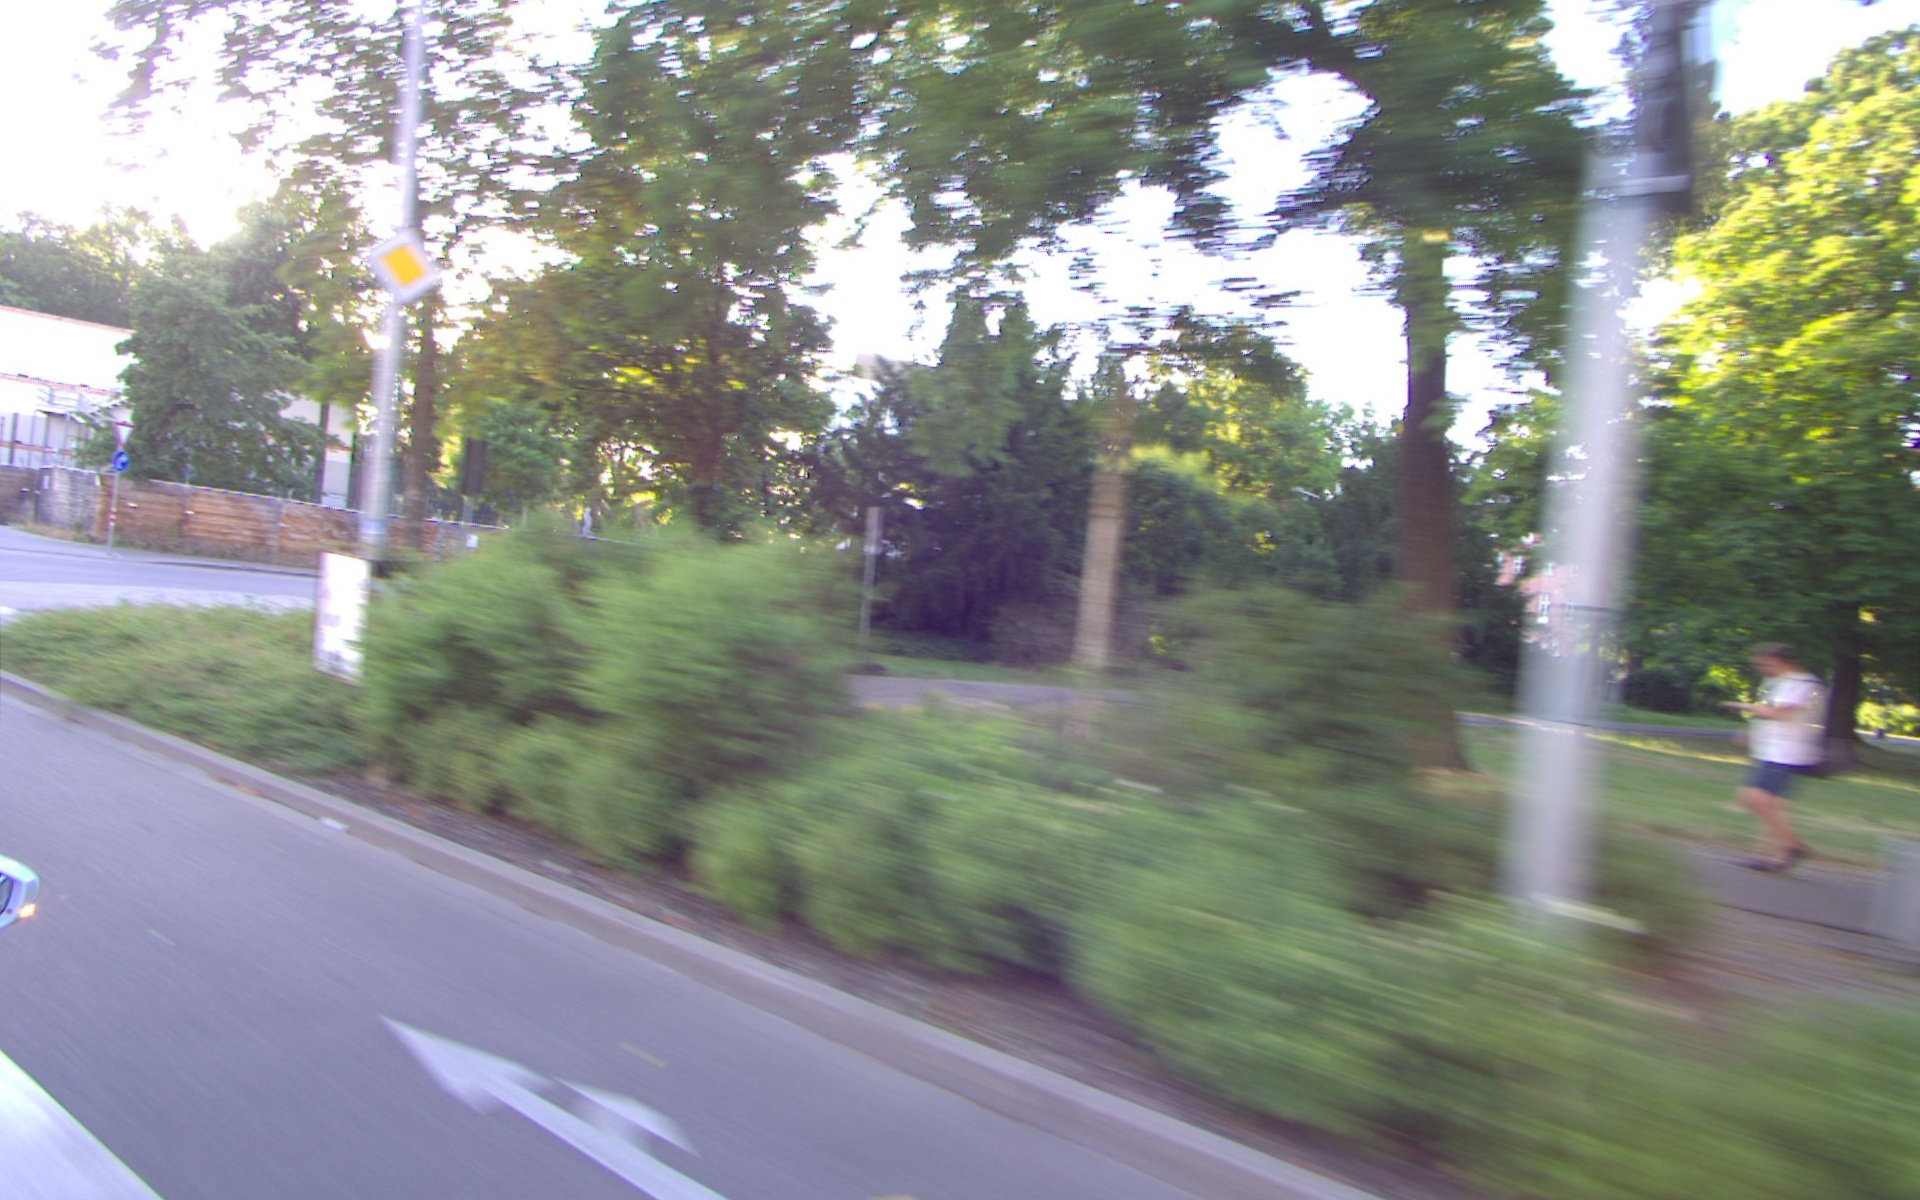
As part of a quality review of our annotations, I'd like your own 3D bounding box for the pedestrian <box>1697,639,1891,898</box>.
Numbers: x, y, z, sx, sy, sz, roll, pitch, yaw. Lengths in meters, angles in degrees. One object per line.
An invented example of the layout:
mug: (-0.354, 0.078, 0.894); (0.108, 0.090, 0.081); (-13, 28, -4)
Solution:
pedestrian: (6.567, 1.276, 7.980); (0.758, 1.855, 0.794); (7, 1, 17)
